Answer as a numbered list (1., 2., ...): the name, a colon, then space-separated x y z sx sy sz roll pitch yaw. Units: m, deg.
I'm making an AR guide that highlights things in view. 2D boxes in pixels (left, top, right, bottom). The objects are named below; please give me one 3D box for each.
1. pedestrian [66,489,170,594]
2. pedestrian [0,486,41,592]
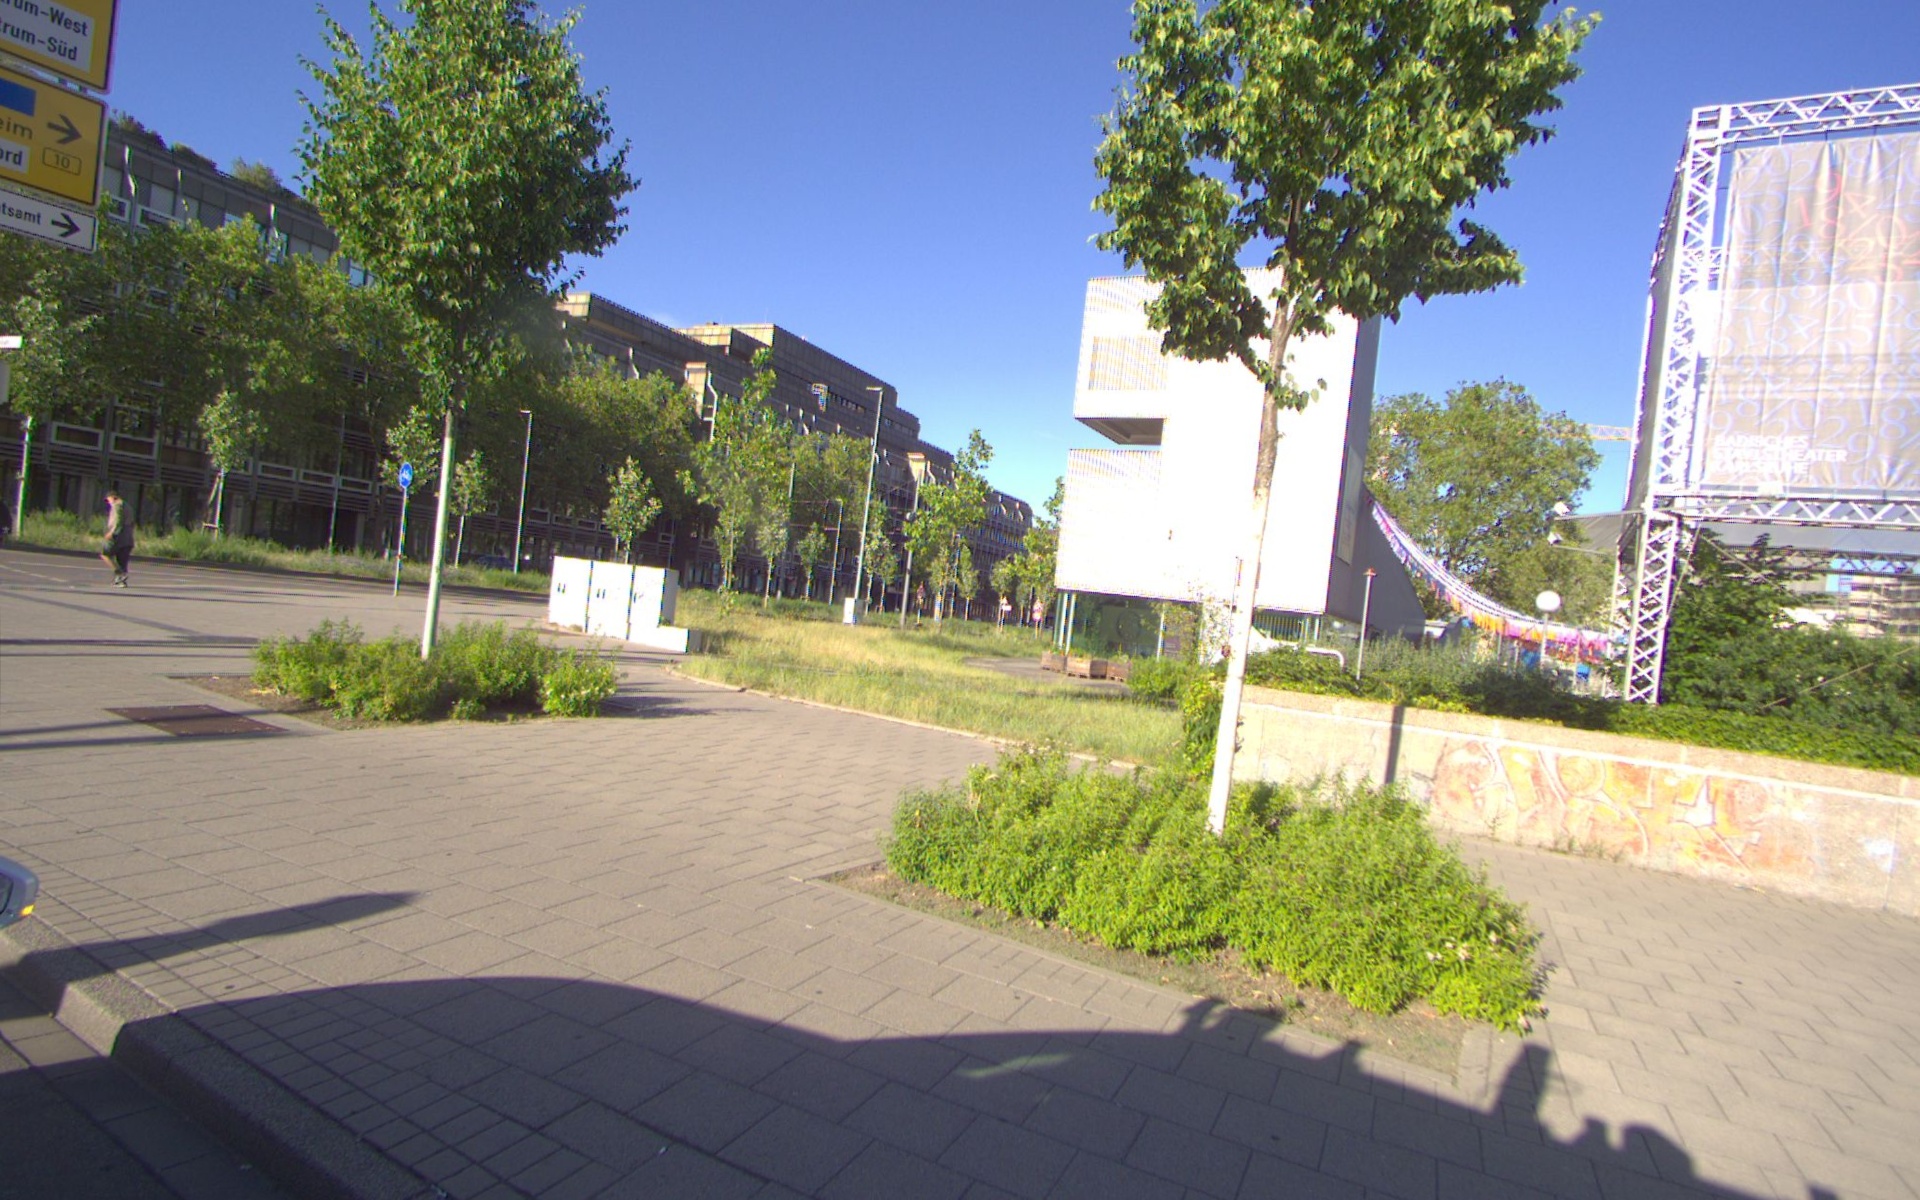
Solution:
1. pedestrian: -15.145 -1.040 18.110 0.946 1.684 0.882 7 -1 14
2. pedestrian: -14.286 -0.936 14.850 0.633 1.510 0.789 6 -1 31
